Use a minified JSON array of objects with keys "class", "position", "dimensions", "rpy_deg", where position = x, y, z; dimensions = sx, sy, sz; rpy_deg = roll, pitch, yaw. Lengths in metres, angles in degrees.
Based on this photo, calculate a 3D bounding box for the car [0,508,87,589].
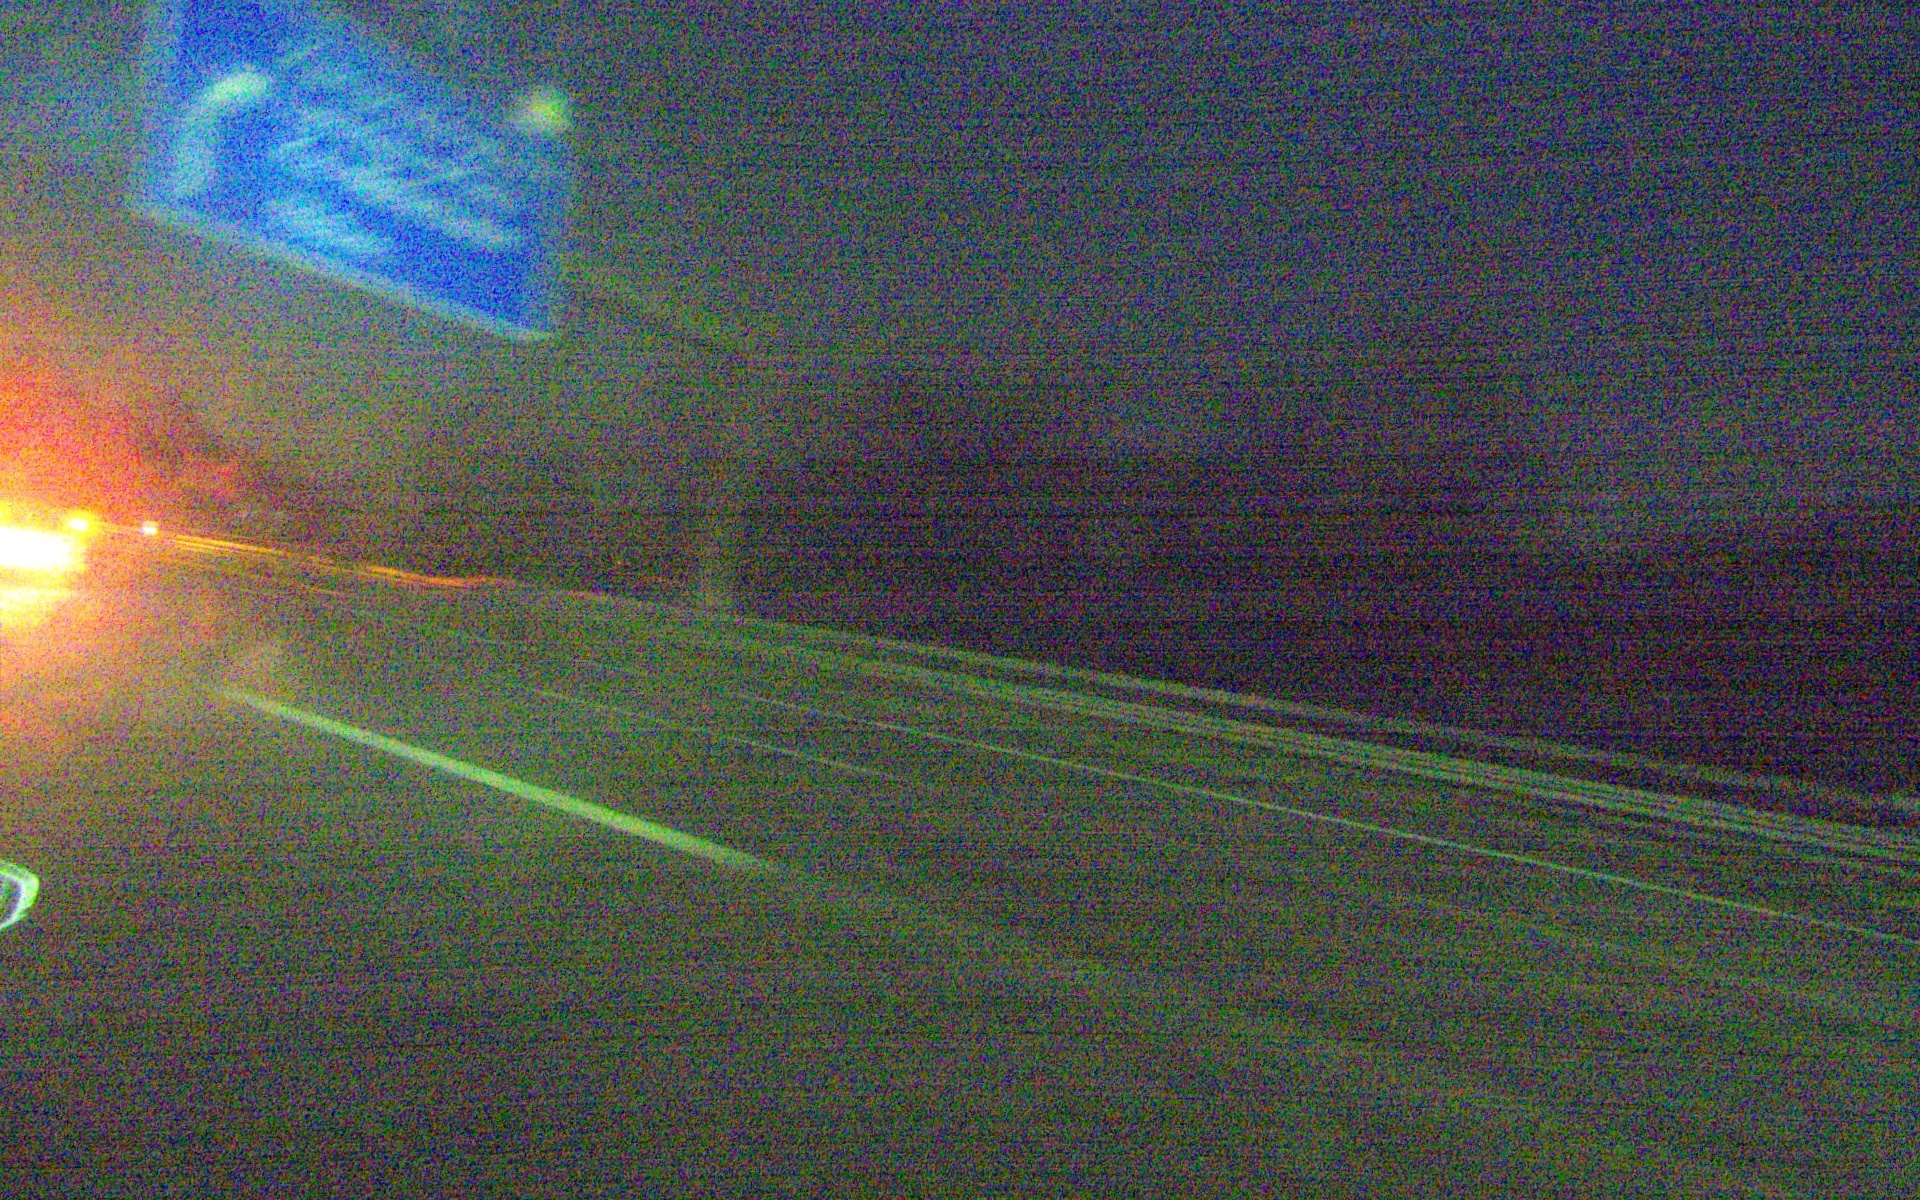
[{"class":"car","position":[-17.865,-1.067,18.557],"dimensions":[3.015,1.260,1.585],"rpy_deg":[7,-1,28]}]
